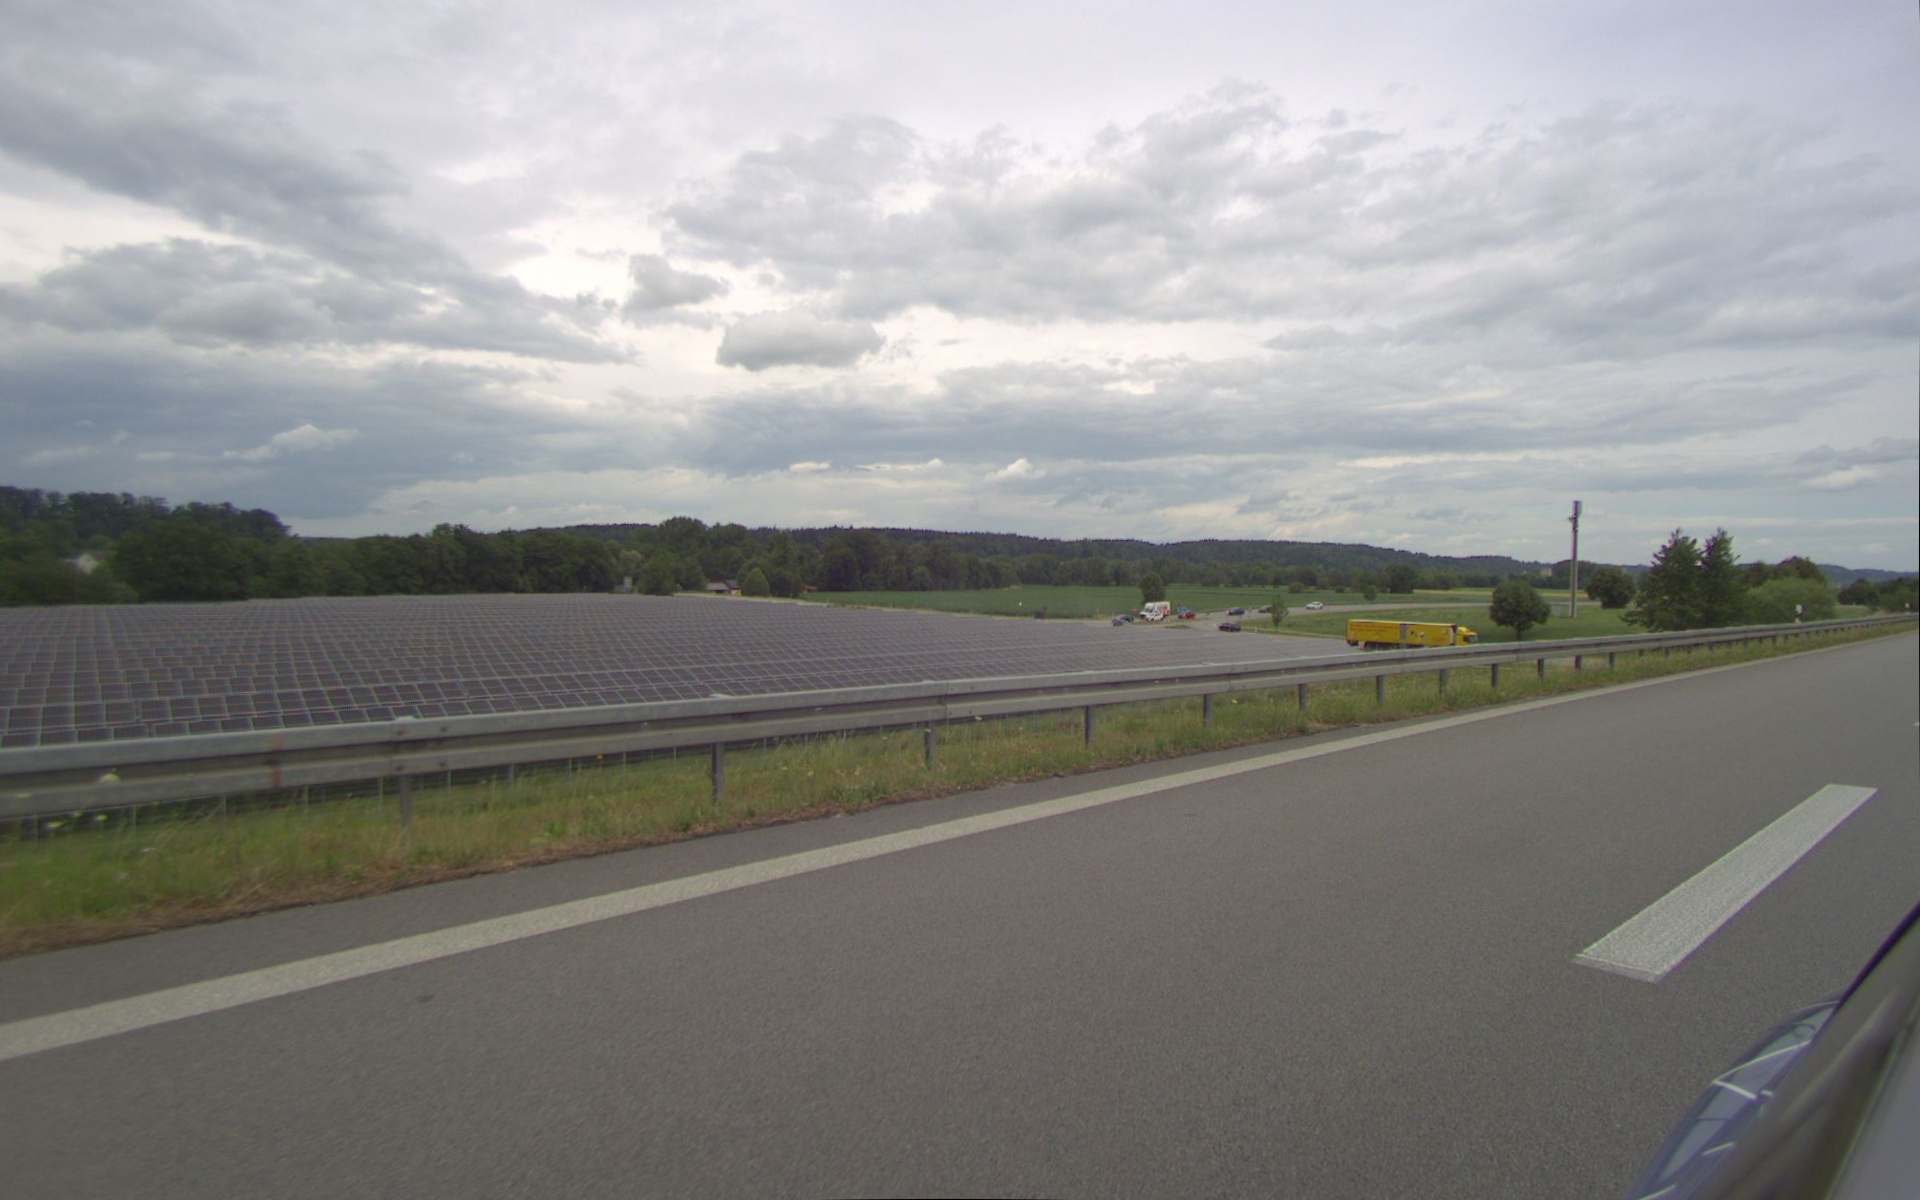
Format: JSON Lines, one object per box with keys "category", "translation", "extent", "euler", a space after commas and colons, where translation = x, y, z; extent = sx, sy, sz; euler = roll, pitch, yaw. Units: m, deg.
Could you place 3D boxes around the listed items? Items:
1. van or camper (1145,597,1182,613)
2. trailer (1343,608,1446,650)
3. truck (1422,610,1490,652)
{"category": "van or camper", "translation": [40.015, 0.907, 198.989], "extent": [6.983, 2.946, 2.804], "euler": [-1, -3, -29]}
{"category": "trailer", "translation": [57.234, 3.704, 133.716], "extent": [2.970, 4.847, 12.279], "euler": [1, 1, -44]}
{"category": "truck", "translation": [62.685, 3.846, 128.077], "extent": [2.970, 4.847, 7.123], "euler": [1, 1, -44]}
